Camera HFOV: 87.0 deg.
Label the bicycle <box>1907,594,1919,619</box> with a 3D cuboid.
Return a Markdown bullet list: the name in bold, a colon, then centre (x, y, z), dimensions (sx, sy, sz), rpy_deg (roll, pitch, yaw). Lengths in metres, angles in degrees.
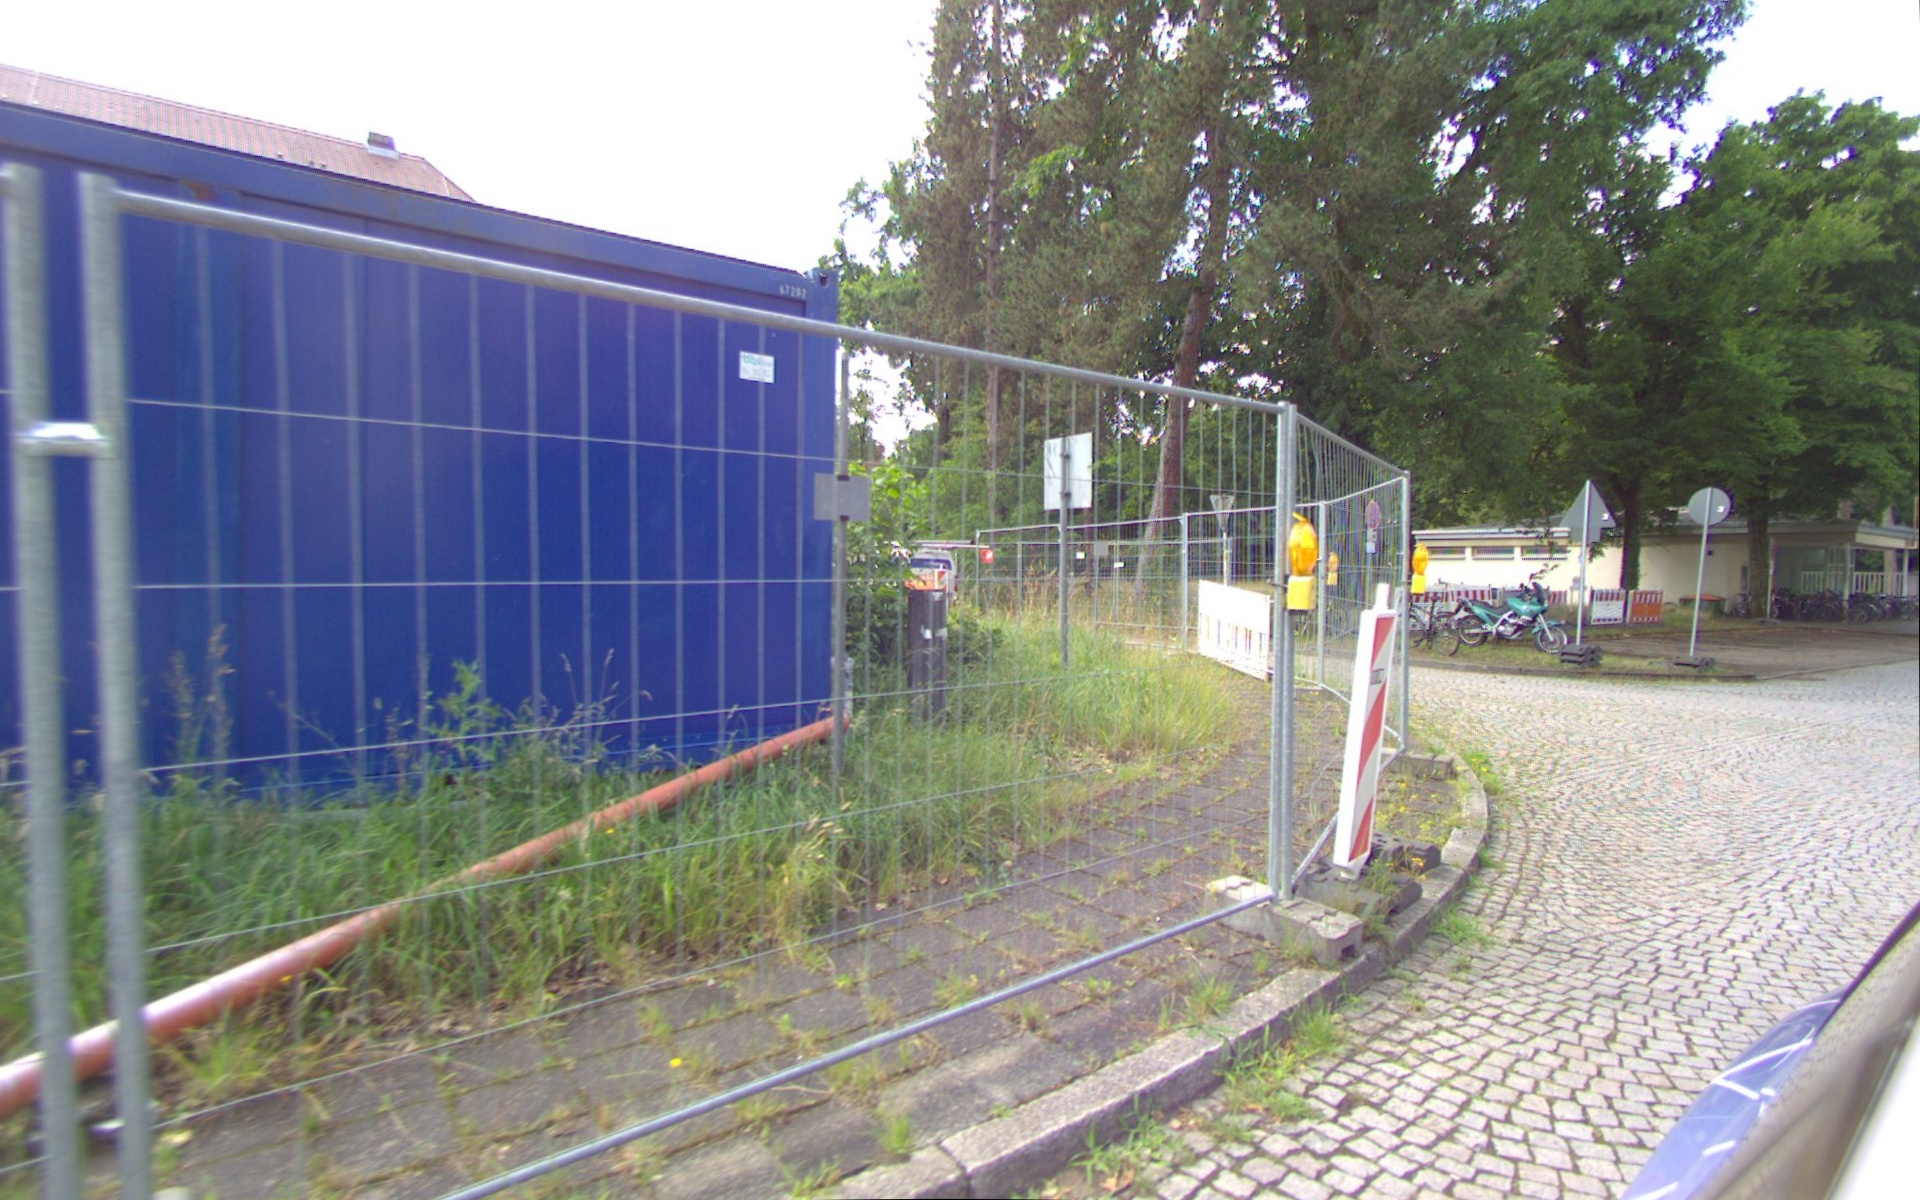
- **bicycle**: centre (41.324, 0.270, 43.081), dimensions (1.392, 1.059, 0.336), rpy_deg (1, 1, 28)

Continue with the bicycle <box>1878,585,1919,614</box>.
- **bicycle**: centre (39.367, -0.031, 42.166), dimensions (0.320, 1.155, 1.615), rpy_deg (0, 3, -43)

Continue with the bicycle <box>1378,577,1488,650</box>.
- **bicycle**: centre (8.450, 0.218, 18.173), dimensions (0.642, 1.212, 1.909), rpy_deg (0, 2, -17)

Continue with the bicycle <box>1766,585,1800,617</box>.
- **bicycle**: centre (30.584, 0.018, 37.598), dimensions (1.605, 1.130, 0.598), rpy_deg (0, 3, -38)

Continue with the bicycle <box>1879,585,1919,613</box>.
- **bicycle**: centre (40.154, -0.043, 42.970), dimensions (0.350, 1.155, 1.615), rpy_deg (0, 3, -43)

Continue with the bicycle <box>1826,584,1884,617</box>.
- **bicycle**: centre (34.997, -0.008, 39.591), dimensions (1.628, 1.204, 0.466), rpy_deg (4, 3, 41)

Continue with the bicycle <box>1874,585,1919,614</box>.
- **bicycle**: centre (39.614, -0.031, 42.588), dimensions (0.350, 1.155, 1.615), rpy_deg (0, 3, -43)

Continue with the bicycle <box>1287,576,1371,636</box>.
- **bicycle**: centre (7.693, 0.124, 21.067), dimensions (1.868, 1.184, 0.644), rpy_deg (1, 1, -35)

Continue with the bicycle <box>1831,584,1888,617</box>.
- **bicycle**: centre (35.494, 0.004, 39.965), dimensions (1.629, 1.204, 0.413), rpy_deg (4, 3, 42)

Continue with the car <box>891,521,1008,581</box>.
- **car**: centre (-0.258, -1.581, 34.245), dimensions (1.980, 1.848, 4.830), rpy_deg (0, 1, 26)

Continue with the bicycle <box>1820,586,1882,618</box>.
- **bicycle**: centre (33.394, 0.068, 37.944), dimensions (1.675, 1.122, 0.333), rpy_deg (4, 3, 41)

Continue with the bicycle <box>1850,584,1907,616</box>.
- **bicycle**: centre (36.779, -0.016, 40.558), dimensions (1.629, 1.204, 0.491), rpy_deg (4, 3, 42)

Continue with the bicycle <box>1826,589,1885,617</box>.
- **bicycle**: centre (34.582, 0.107, 39.094), dimensions (1.617, 0.988, 0.320), rpy_deg (3, 2, 24)

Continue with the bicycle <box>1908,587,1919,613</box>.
- **bicycle**: centre (40.922, -0.001, 42.794), dimensions (1.145, 1.076, 0.284), rpy_deg (1, 1, 34)

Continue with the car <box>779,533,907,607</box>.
- **car**: centre (-4.399, -1.118, 39.407), dimensions (1.978, 2.610, 6.371), rpy_deg (-1, 1, 24)

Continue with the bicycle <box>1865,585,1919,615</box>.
- **bicycle**: centre (38.593, -0.026, 41.893), dimensions (0.320, 1.155, 1.615), rpy_deg (0, 3, -43)

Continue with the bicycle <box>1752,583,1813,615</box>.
- **bicycle**: centre (32.475, -0.062, 39.968), dimensions (0.597, 1.179, 1.744), rpy_deg (0, 3, -40)

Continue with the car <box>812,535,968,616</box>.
- **car**: centre (-1.965, -0.646, 26.787), dimensions (1.870, 1.945, 4.875), rpy_deg (1, 1, -35)

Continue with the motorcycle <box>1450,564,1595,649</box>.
- **motorcycle**: centre (10.652, 0.081, 19.246), dimensions (0.744, 1.503, 2.281), rpy_deg (0, 2, -41)

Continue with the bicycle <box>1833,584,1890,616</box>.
- **bicycle**: centre (35.945, -0.005, 40.367), dimensions (1.629, 1.204, 0.413), rpy_deg (4, 3, 42)

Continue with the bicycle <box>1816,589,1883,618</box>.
- **bicycle**: centre (33.958, 0.117, 38.648), dimensions (1.727, 0.988, 0.753), rpy_deg (3, 2, 24)

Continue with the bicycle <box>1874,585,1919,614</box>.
- **bicycle**: centre (39.032, -0.026, 41.984), dimensions (0.320, 1.155, 1.615), rpy_deg (0, 3, -43)

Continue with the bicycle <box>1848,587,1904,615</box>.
- **bicycle**: centre (37.131, 0.030, 41.058), dimensions (1.628, 1.063, 0.329), rpy_deg (4, 3, 40)

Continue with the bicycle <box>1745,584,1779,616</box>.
- **bicycle**: centre (30.187, -0.010, 38.099), dimensions (1.605, 1.130, 0.598), rpy_deg (0, 3, -38)

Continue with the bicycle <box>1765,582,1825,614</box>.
- **bicycle**: centre (33.362, -0.077, 40.464), dimensions (0.597, 1.179, 1.744), rpy_deg (0, 3, -40)
